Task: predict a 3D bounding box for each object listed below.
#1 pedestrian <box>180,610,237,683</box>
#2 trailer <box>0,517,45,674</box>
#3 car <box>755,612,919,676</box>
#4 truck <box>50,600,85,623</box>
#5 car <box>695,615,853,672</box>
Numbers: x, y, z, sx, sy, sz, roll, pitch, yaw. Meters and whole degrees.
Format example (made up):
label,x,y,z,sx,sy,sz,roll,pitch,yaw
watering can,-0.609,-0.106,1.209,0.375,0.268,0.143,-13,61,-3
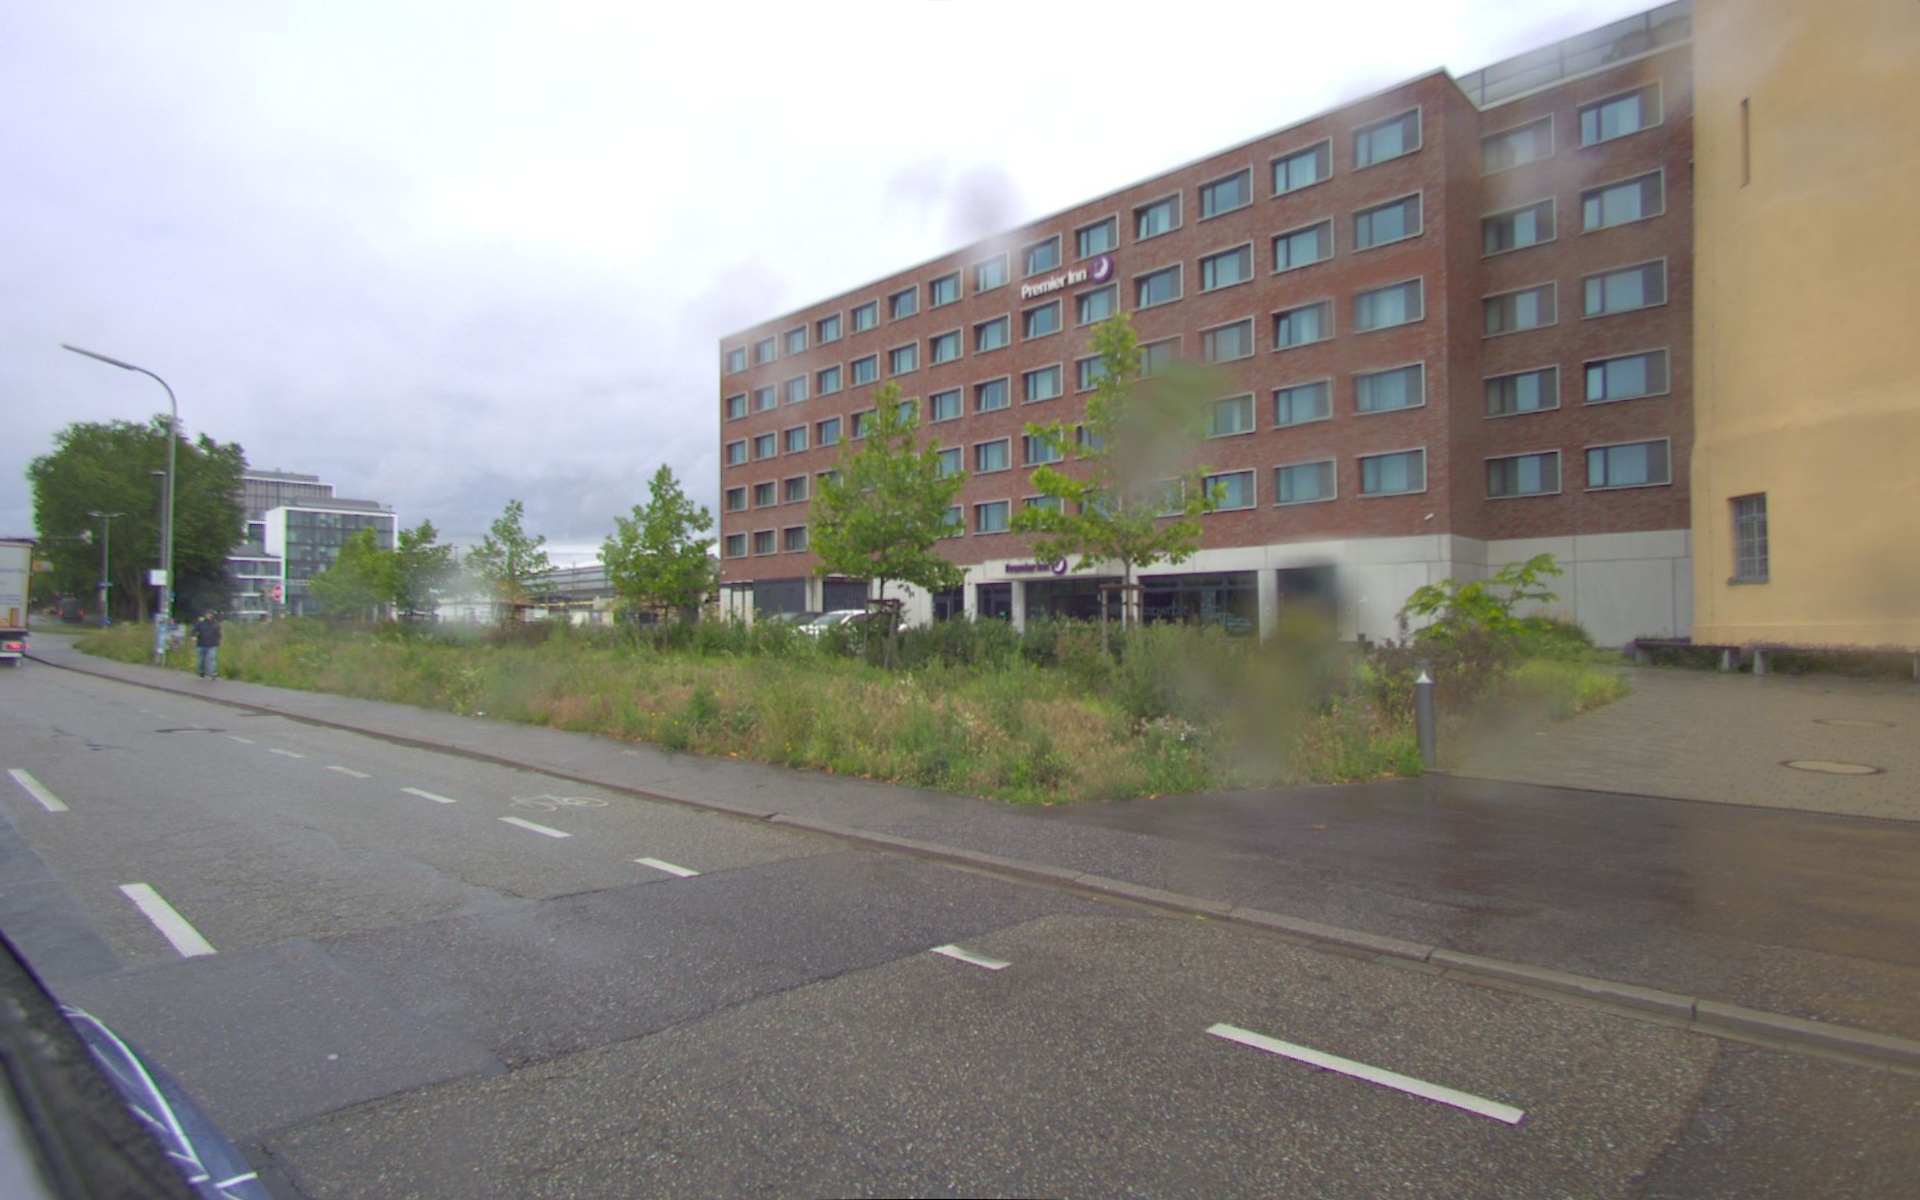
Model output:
label,x,y,z,sx,sy,sz,roll,pitch,yaw
pedestrian,-18.302,1.123,24.657,1.026,1.731,0.899,-1,-2,42
trailer,-34.384,-0.032,34.301,13.725,4.689,3.260,-1,-2,41
car,-3.364,1.207,28.522,1.998,1.653,4.477,-1,-2,39
truck,-104.950,1.425,118.952,6.973,2.639,2.063,-1,-3,41
car,-5.491,1.266,30.377,1.998,1.592,4.477,-1,-2,39
